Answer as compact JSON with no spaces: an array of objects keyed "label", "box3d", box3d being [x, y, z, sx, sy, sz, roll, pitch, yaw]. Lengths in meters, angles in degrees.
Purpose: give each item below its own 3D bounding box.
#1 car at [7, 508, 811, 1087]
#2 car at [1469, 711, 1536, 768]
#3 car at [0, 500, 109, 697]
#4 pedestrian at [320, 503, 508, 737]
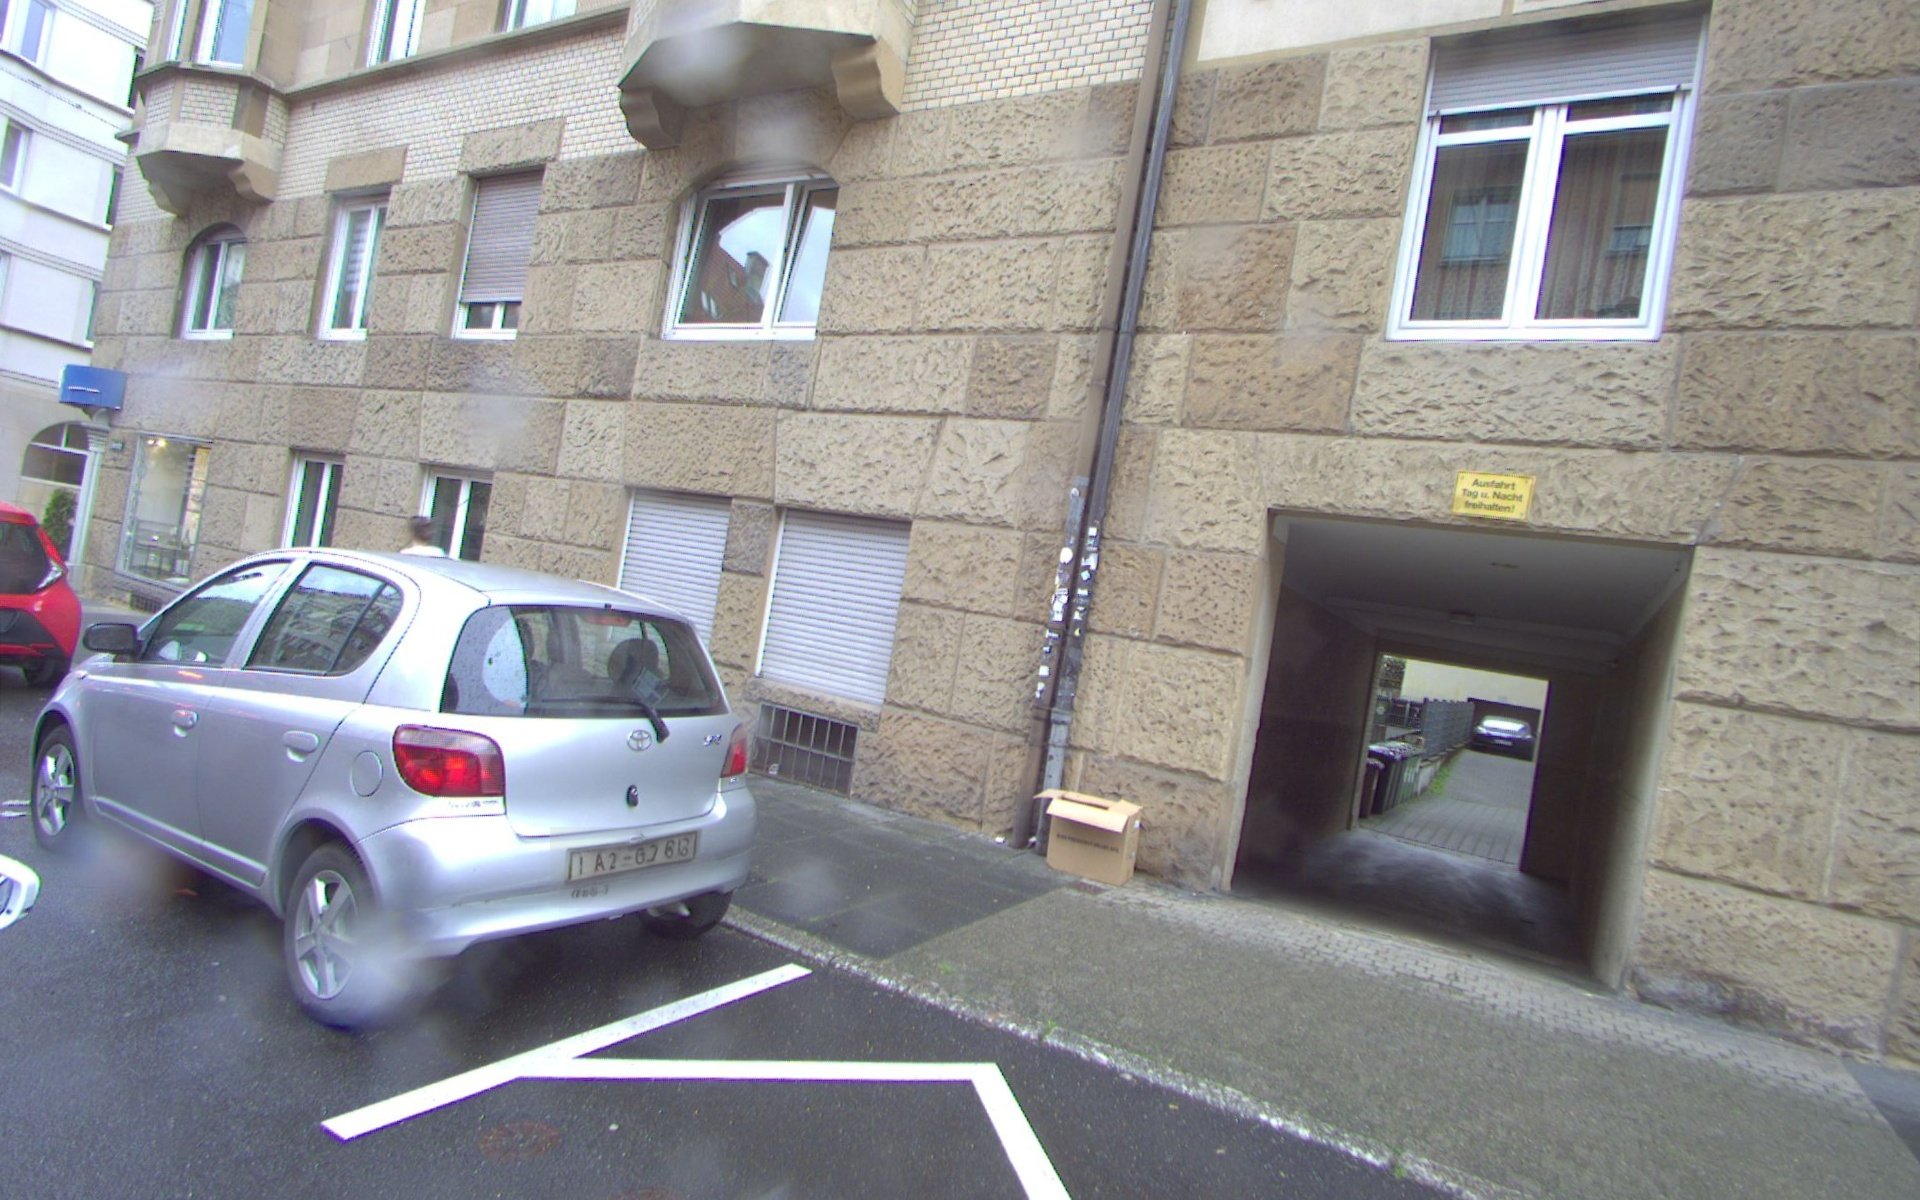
[{"label":"car","box3d":[-2.491,0.543,4.399,3.258,1.485,1.616,7,-1,33]},{"label":"car","box3d":[18.334,4.694,33.940,1.693,1.538,4.102,7,-3,31]},{"label":"car","box3d":[-8.740,-0.202,8.177,3.243,1.464,1.646,7,-2,29]},{"label":"pedestrian","box3d":[-4.528,0.162,8.350,1.093,1.768,0.743,6,-1,32]}]
